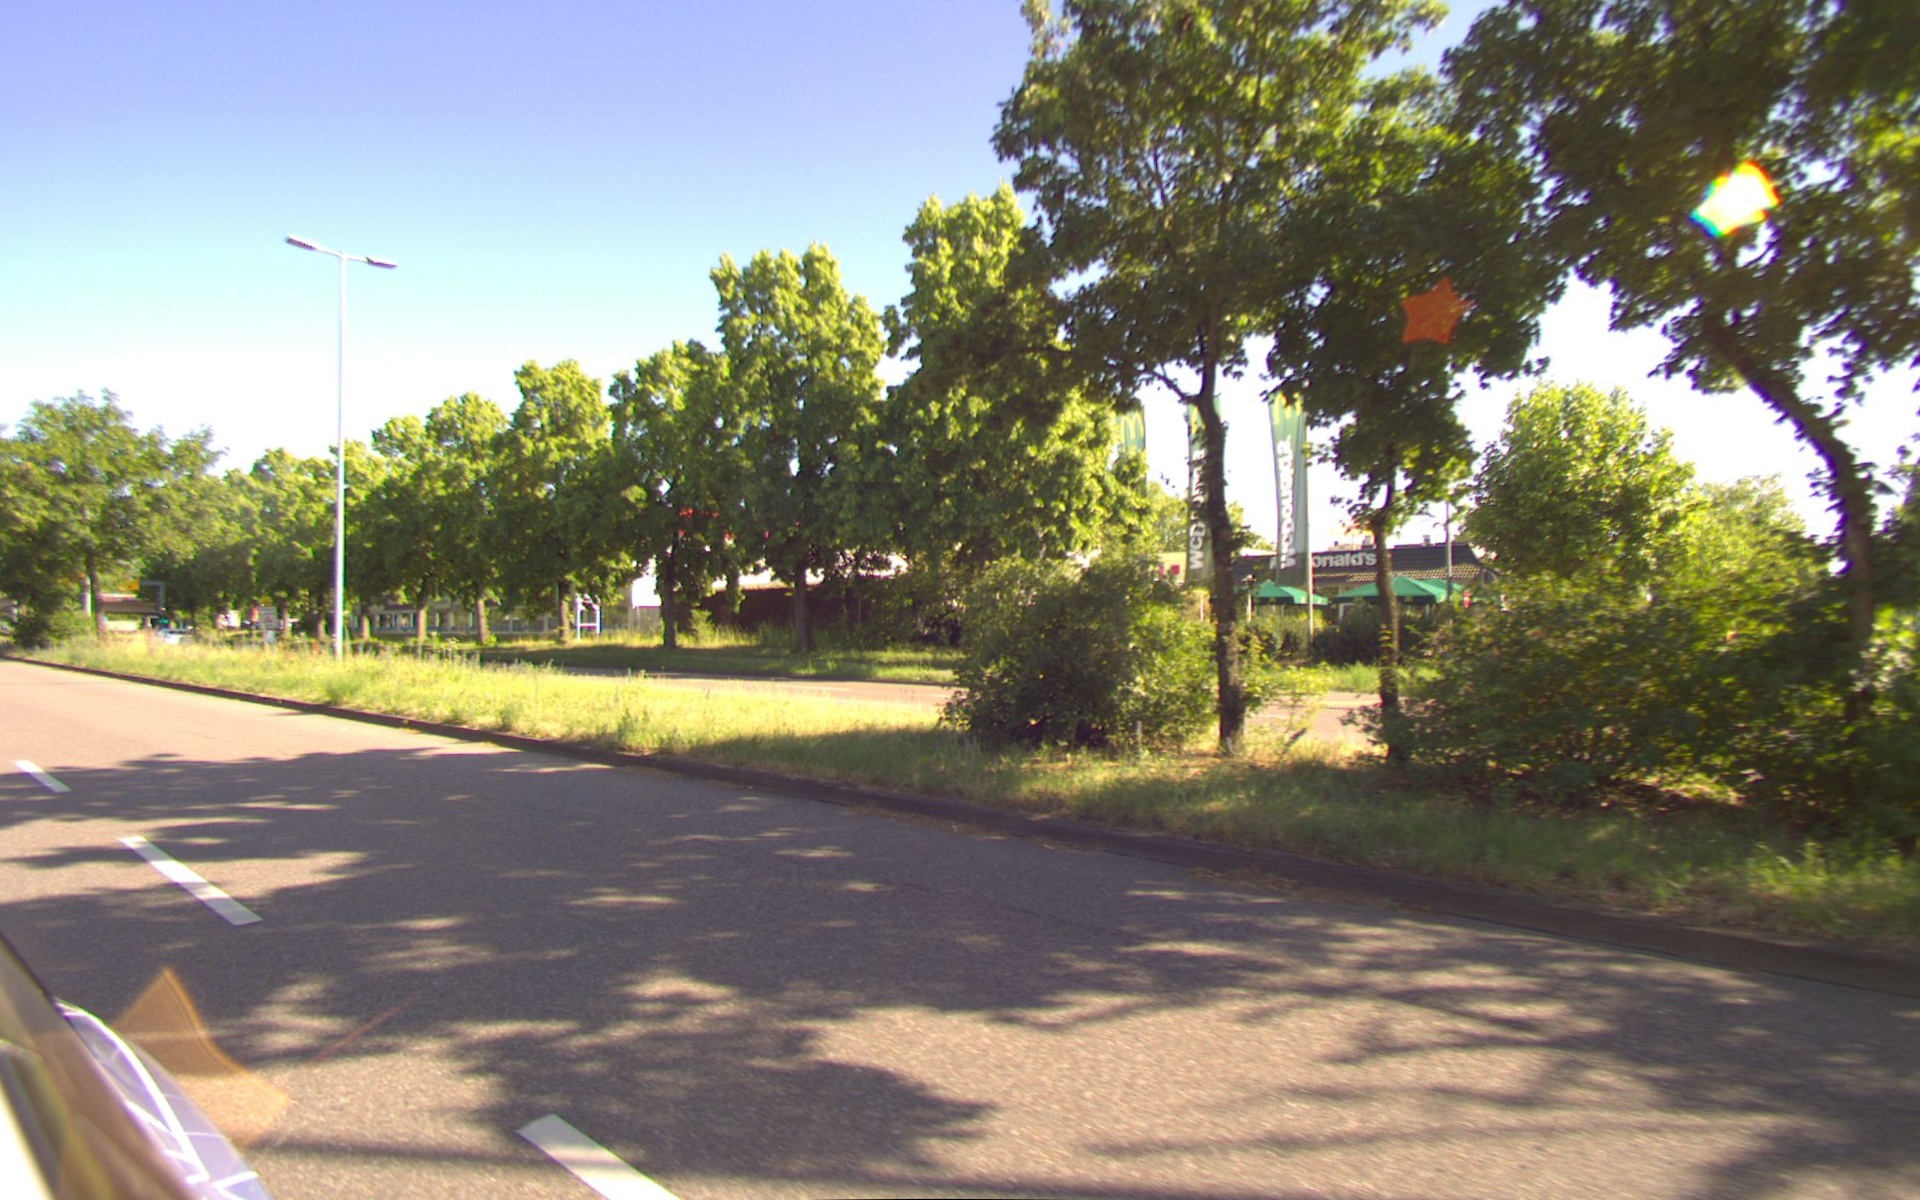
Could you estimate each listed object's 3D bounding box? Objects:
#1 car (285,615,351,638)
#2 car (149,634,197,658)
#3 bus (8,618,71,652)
[{"bbox_3d":[-71.567,2.975,112.969,2.204,2.452,5.821,-2,-3,38],"label":"car"},{"bbox_3d":[-52.682,3.091,67.710,4.527,1.532,1.737,-2,-5,42],"label":"car"},{"bbox_3d":[-81.458,3.154,89.479,11.081,2.742,2.692,-2,-5,41],"label":"bus"}]
